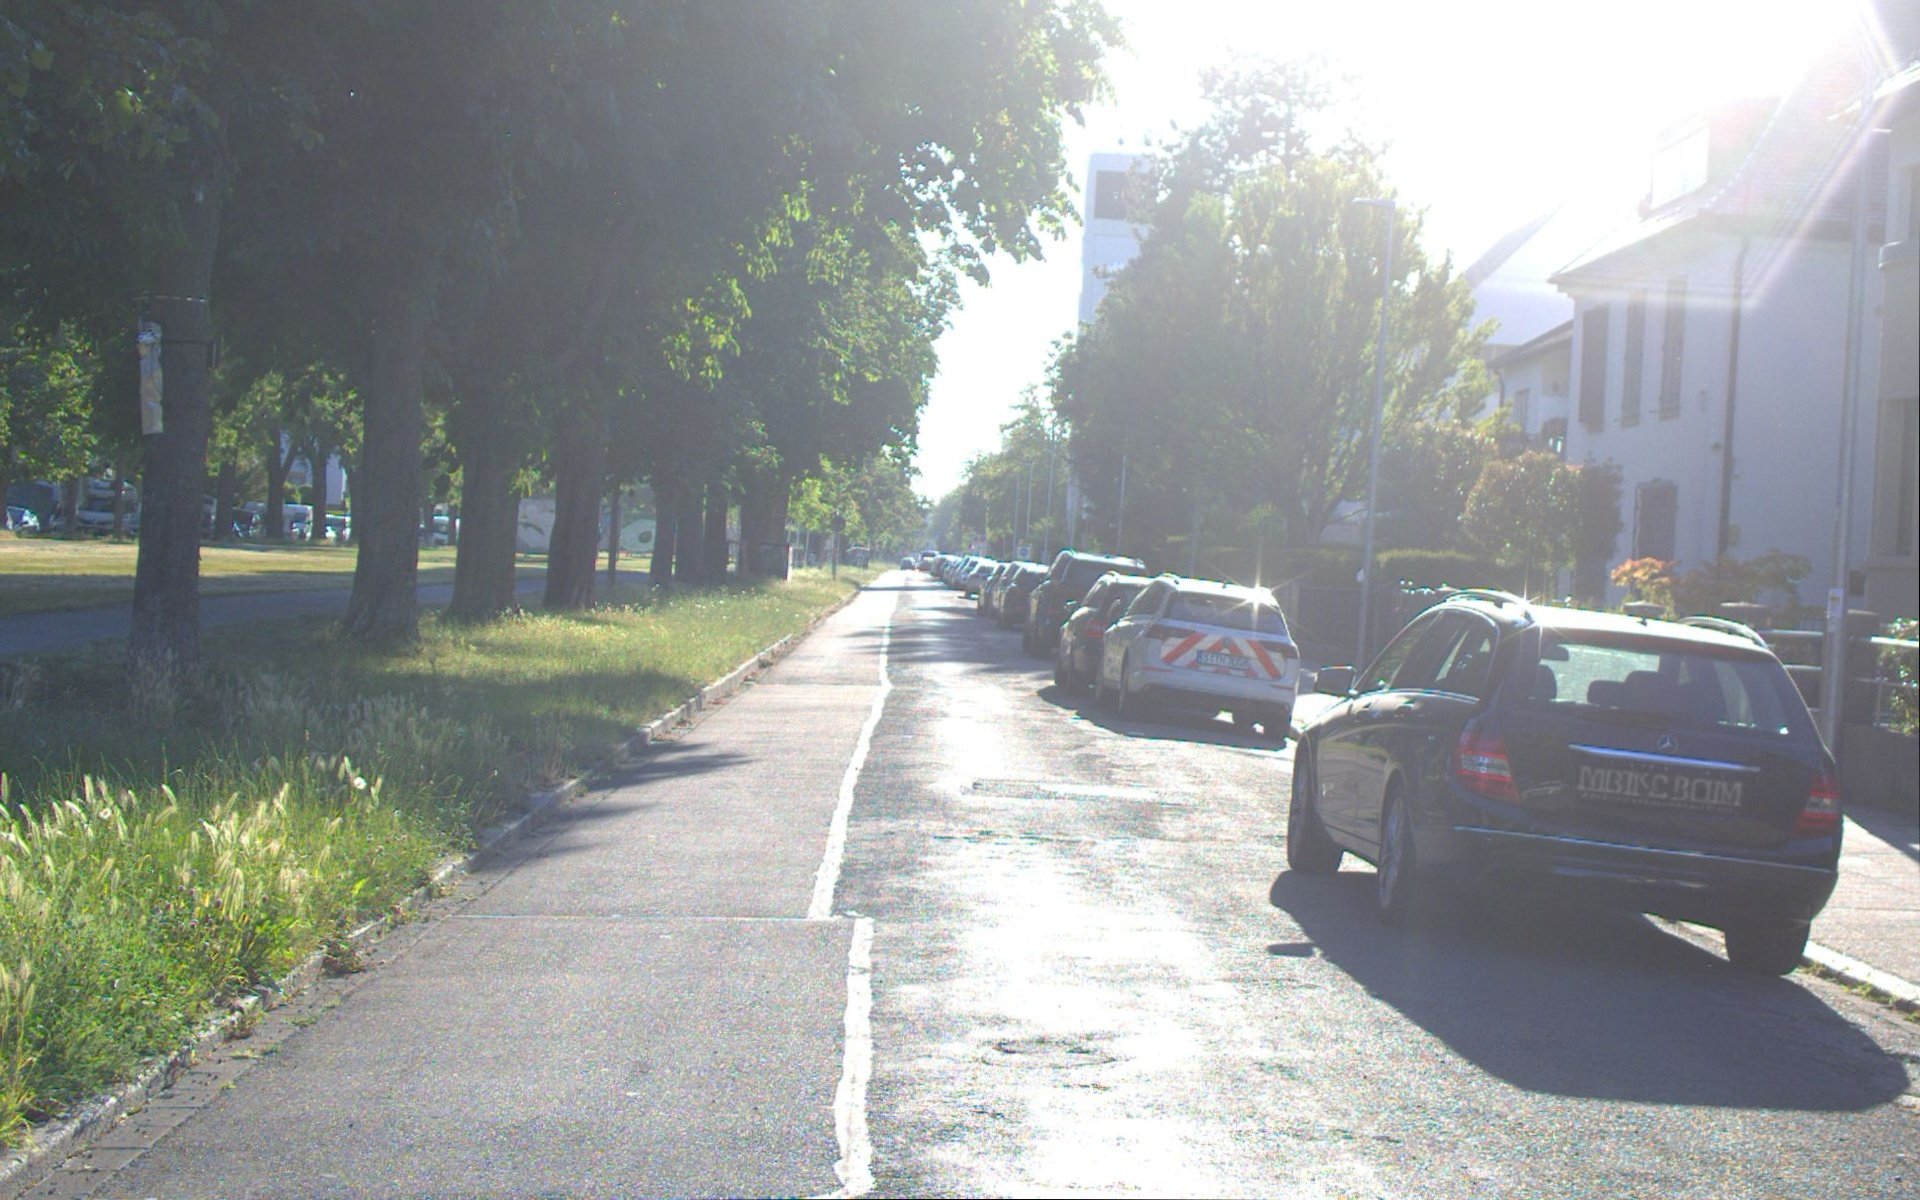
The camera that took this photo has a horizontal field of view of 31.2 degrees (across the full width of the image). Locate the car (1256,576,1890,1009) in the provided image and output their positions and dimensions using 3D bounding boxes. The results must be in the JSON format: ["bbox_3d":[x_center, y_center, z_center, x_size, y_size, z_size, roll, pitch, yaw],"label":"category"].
[{"bbox_3d":[2.589,0.740,15.639,1.779,1.494,4.398,6,0,-2],"label":"car"}]

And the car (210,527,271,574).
[{"bbox_3d":[-36.824,-2.521,176.071,1.993,2.242,5.187,4,0,-1],"label":"car"}]

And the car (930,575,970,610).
[{"bbox_3d":[-0.504,-0.391,172.161,1.758,1.599,4.359,4,0,-2],"label":"car"}]

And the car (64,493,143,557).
[{"bbox_3d":[-42.512,-3.697,170.776,2.437,2.912,5.818,2,0,-1],"label":"car"}]

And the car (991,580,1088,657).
[{"bbox_3d":[1.717,0.397,75.449,1.793,1.487,4.674,5,0,-1],"label":"car"}]

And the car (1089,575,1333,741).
[{"bbox_3d":[2.539,0.554,35.879,1.993,1.459,4.550,4,1,-2],"label":"car"}]

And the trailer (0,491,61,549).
[{"bbox_3d":[-42.078,-3.589,154.441,1.993,2.420,4.724,4,0,0],"label":"trailer"}]

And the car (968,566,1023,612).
[{"bbox_3d":[1.306,-0.401,128.219,1.757,1.415,4.072,10,0,0],"label":"car"}]

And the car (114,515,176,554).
[{"bbox_3d":[-36.671,-2.931,154.763,1.685,1.554,4.314,4,0,0],"label":"car"}]

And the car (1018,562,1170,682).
[{"bbox_3d":[2.119,0.324,55.714,1.993,1.731,4.864,4,0,-2],"label":"car"}]

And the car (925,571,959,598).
[{"bbox_3d":[-1.152,-0.976,219.013,1.993,1.624,4.000,4,0,0],"label":"car"}]

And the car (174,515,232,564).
[{"bbox_3d":[-36.356,-2.892,165.190,1.685,2.168,4.314,4,1,0],"label":"car"}]

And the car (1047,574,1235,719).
[{"bbox_3d":[2.129,0.519,41.584,1.780,1.458,4.594,7,0,-1],"label":"car"}]

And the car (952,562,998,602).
[{"bbox_3d":[0.630,-0.798,151.322,1.758,1.599,4.359,4,0,-2],"label":"car"}]
